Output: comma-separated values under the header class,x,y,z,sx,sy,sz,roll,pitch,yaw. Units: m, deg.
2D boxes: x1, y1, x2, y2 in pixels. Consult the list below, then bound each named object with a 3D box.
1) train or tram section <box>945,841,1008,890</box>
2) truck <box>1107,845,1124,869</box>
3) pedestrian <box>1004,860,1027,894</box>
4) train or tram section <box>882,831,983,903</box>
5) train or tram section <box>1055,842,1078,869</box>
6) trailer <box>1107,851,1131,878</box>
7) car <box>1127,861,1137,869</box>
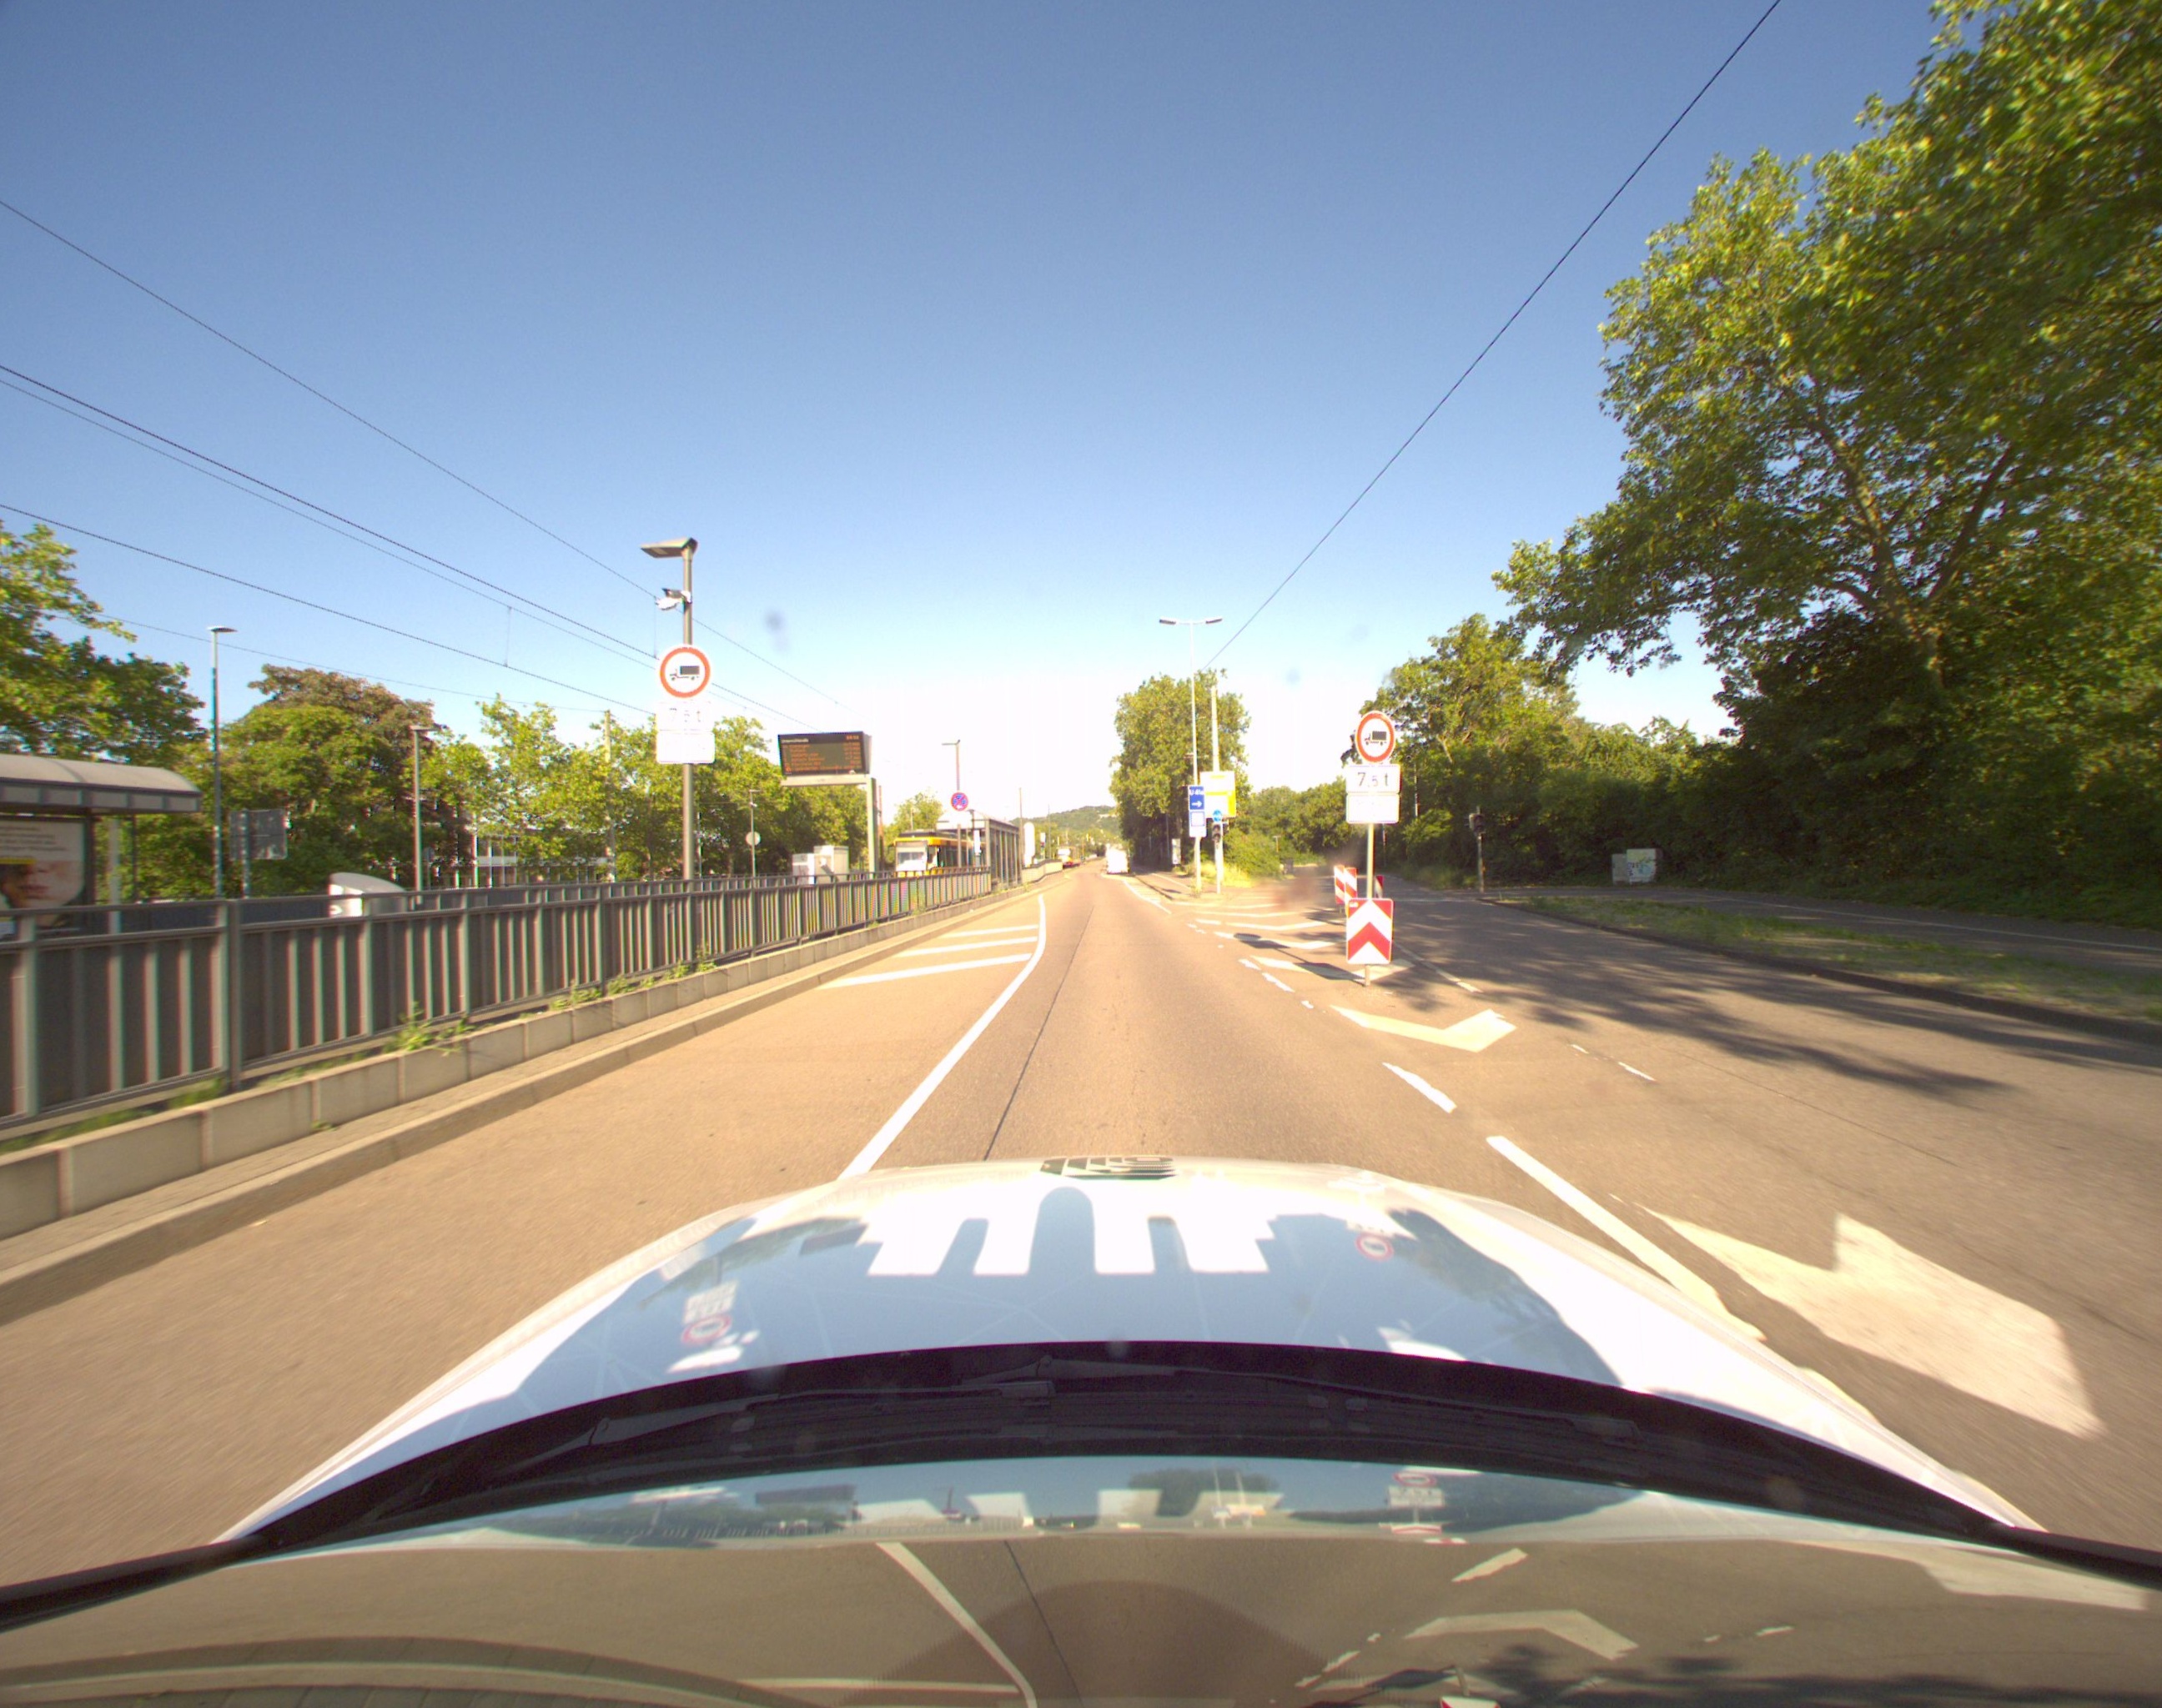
class,x,y,z,sx,sy,sz,roll,pitch,yaw
train or tram section,-8.439,0.913,67.753,2.816,3.687,12.978,-1,-1,3
truck,5.569,0.557,133.713,2.731,3.783,10.093,0,0,2
pedestrian,-2.919,1.031,36.263,0.752,1.493,0.699,-2,-1,35
train or tram section,-9.244,0.790,53.351,2.816,4.006,15.886,-1,-1,3
train or tram section,-2.288,0.247,135.024,2.711,4.091,13.622,-3,0,2
trailer,4.064,1.043,85.729,2.240,2.695,5.955,-1,0,5
car,8.893,1.918,142.992,1.646,1.437,3.780,-2,-1,3
